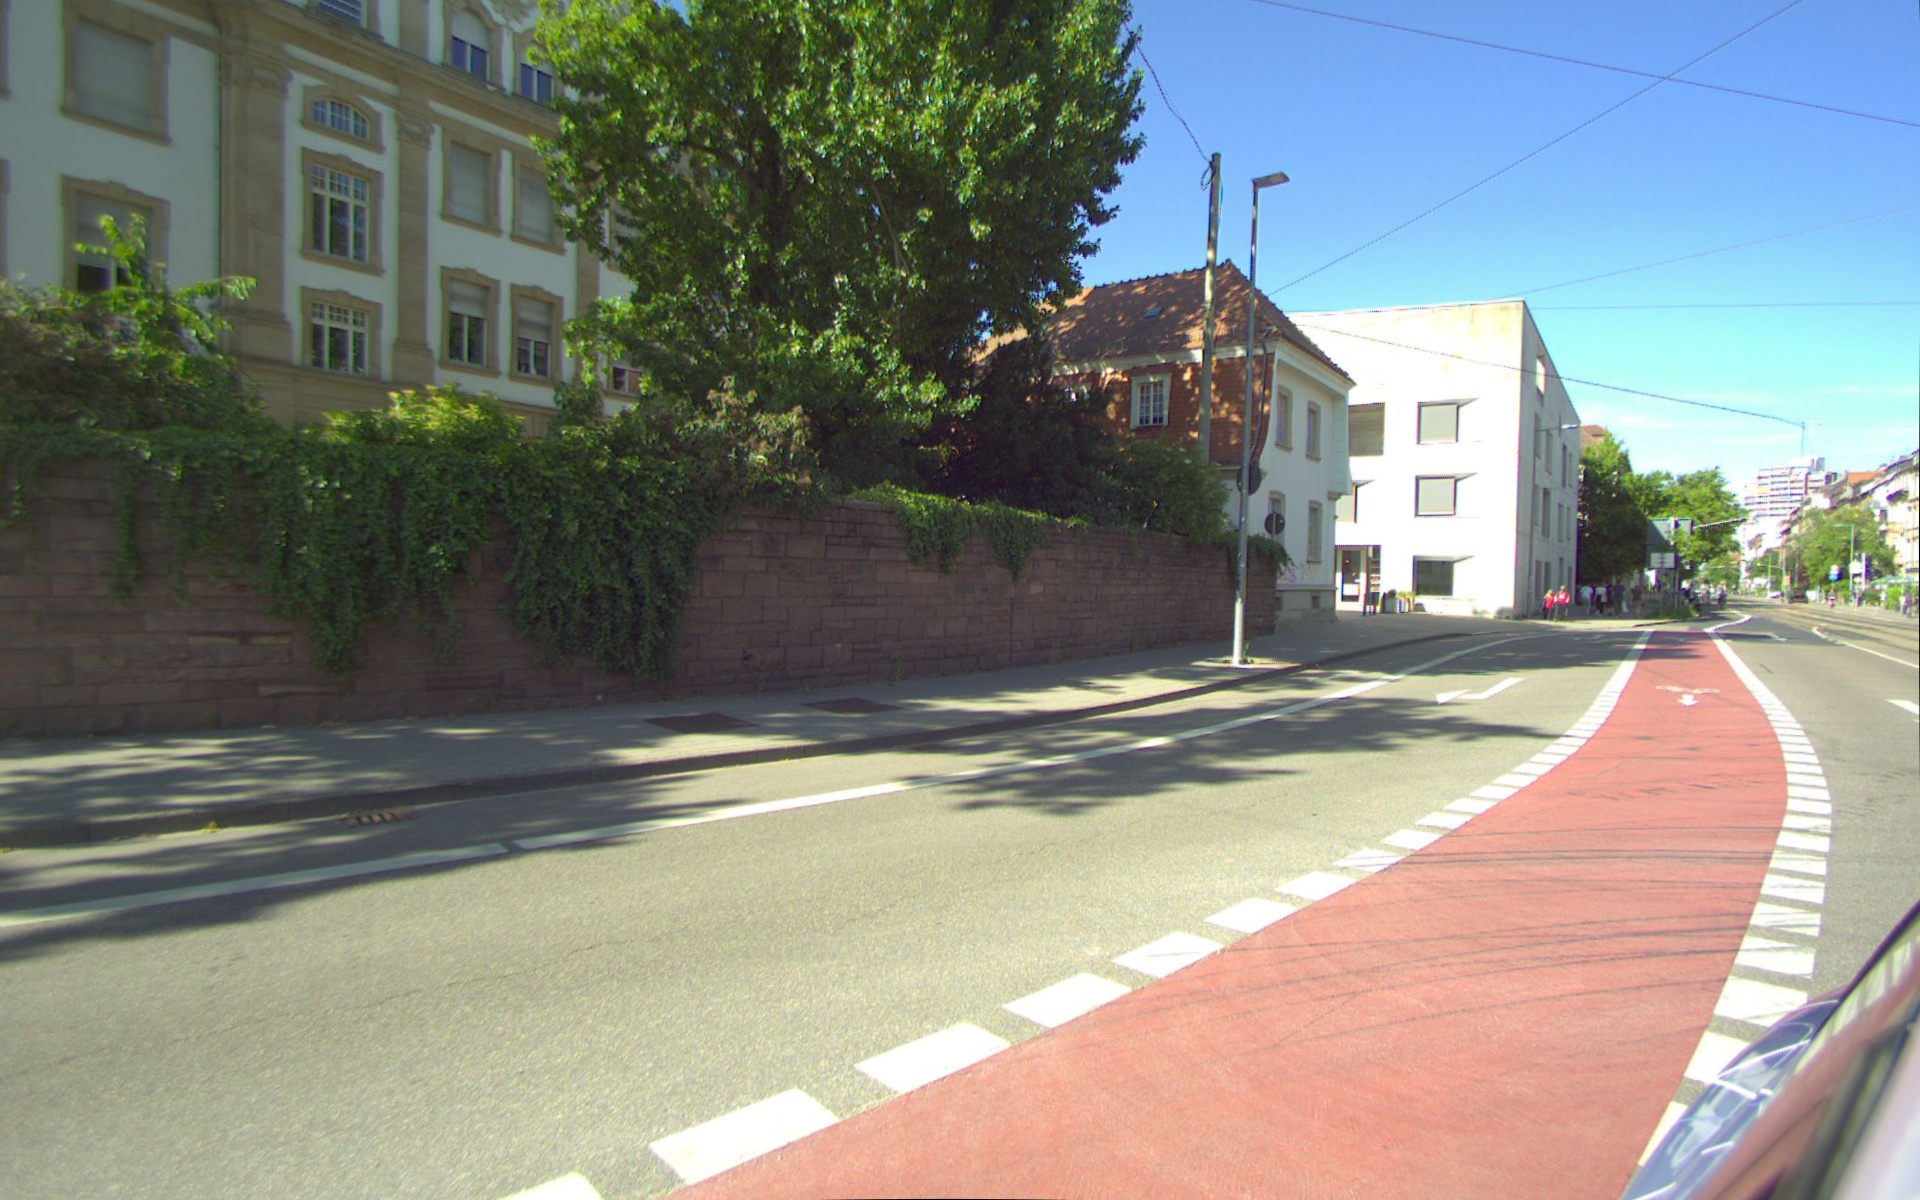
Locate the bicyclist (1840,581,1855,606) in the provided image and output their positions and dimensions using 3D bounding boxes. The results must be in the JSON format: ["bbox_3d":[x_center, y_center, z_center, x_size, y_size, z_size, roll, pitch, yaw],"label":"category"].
[{"bbox_3d":[82.400,-0.642,93.966,0.999,2.296,1.006,0,1,39],"label":"bicyclist"}]

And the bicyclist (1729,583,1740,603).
[{"bbox_3d":[59.182,-0.550,77.357,0.663,1.480,0.613,0,1,41],"label":"bicyclist"}]

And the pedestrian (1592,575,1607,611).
[{"bbox_3d":[33.262,-0.381,52.642,0.584,1.828,0.575,2,1,36],"label":"pedestrian"}]

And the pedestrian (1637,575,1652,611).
[{"bbox_3d":[33.752,-0.328,49.888,0.584,1.749,0.513,2,1,36],"label":"pedestrian"}]

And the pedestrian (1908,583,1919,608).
[{"bbox_3d":[70.546,-0.333,74.765,0.576,1.879,0.675,2,1,37],"label":"pedestrian"}]

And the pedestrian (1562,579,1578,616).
[{"bbox_3d":[26.597,-0.108,44.149,0.531,1.586,0.513,2,1,36],"label":"pedestrian"}]

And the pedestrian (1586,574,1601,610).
[{"bbox_3d":[31.995,-0.406,51.111,0.584,1.828,0.538,2,1,36],"label":"pedestrian"}]

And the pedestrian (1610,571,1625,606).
[{"bbox_3d":[34.795,-0.602,53.564,0.584,1.828,0.538,2,1,36],"label":"pedestrian"}]

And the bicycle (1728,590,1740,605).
[{"bbox_3d":[59.199,-0.198,77.374,0.663,1.166,1.648,0,2,40],"label":"bicycle"}]

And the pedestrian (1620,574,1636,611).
[{"bbox_3d":[33.154,-0.361,50.242,0.584,1.828,0.513,2,1,36],"label":"pedestrian"}]

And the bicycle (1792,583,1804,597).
[{"bbox_3d":[106.400,-1.282,128.533,0.998,1.702,2.946,0,2,37],"label":"bicycle"}]

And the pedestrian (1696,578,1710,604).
[{"bbox_3d":[51.218,-0.610,69.778,0.675,1.759,0.919,2,2,38],"label":"pedestrian"}]

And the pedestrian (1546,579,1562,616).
[{"bbox_3d":[26.127,-0.118,44.546,0.531,1.586,0.513,2,1,36],"label":"pedestrian"}]

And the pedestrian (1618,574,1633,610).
[{"bbox_3d":[34.298,-0.401,52.160,0.584,1.828,0.575,2,1,36],"label":"pedestrian"}]

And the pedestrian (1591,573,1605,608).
[{"bbox_3d":[34.090,-0.527,54.065,0.584,1.828,0.538,2,1,36],"label":"pedestrian"}]

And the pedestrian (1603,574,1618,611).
[{"bbox_3d":[32.539,-0.398,50.608,0.584,1.828,0.538,2,1,36],"label":"pedestrian"}]

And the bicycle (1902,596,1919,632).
[{"bbox_3d":[53.829,0.760,54.906,3.846,1.910,0.997,0,1,21],"label":"bicycle"}]

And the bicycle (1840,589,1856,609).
[{"bbox_3d":[82.418,-0.113,93.986,0.999,1.702,2.943,0,2,39],"label":"bicycle"}]

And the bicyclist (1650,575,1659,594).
[{"bbox_3d":[81.509,-1.820,118.818,0.809,2.234,0.971,0,1,39],"label":"bicyclist"}]
